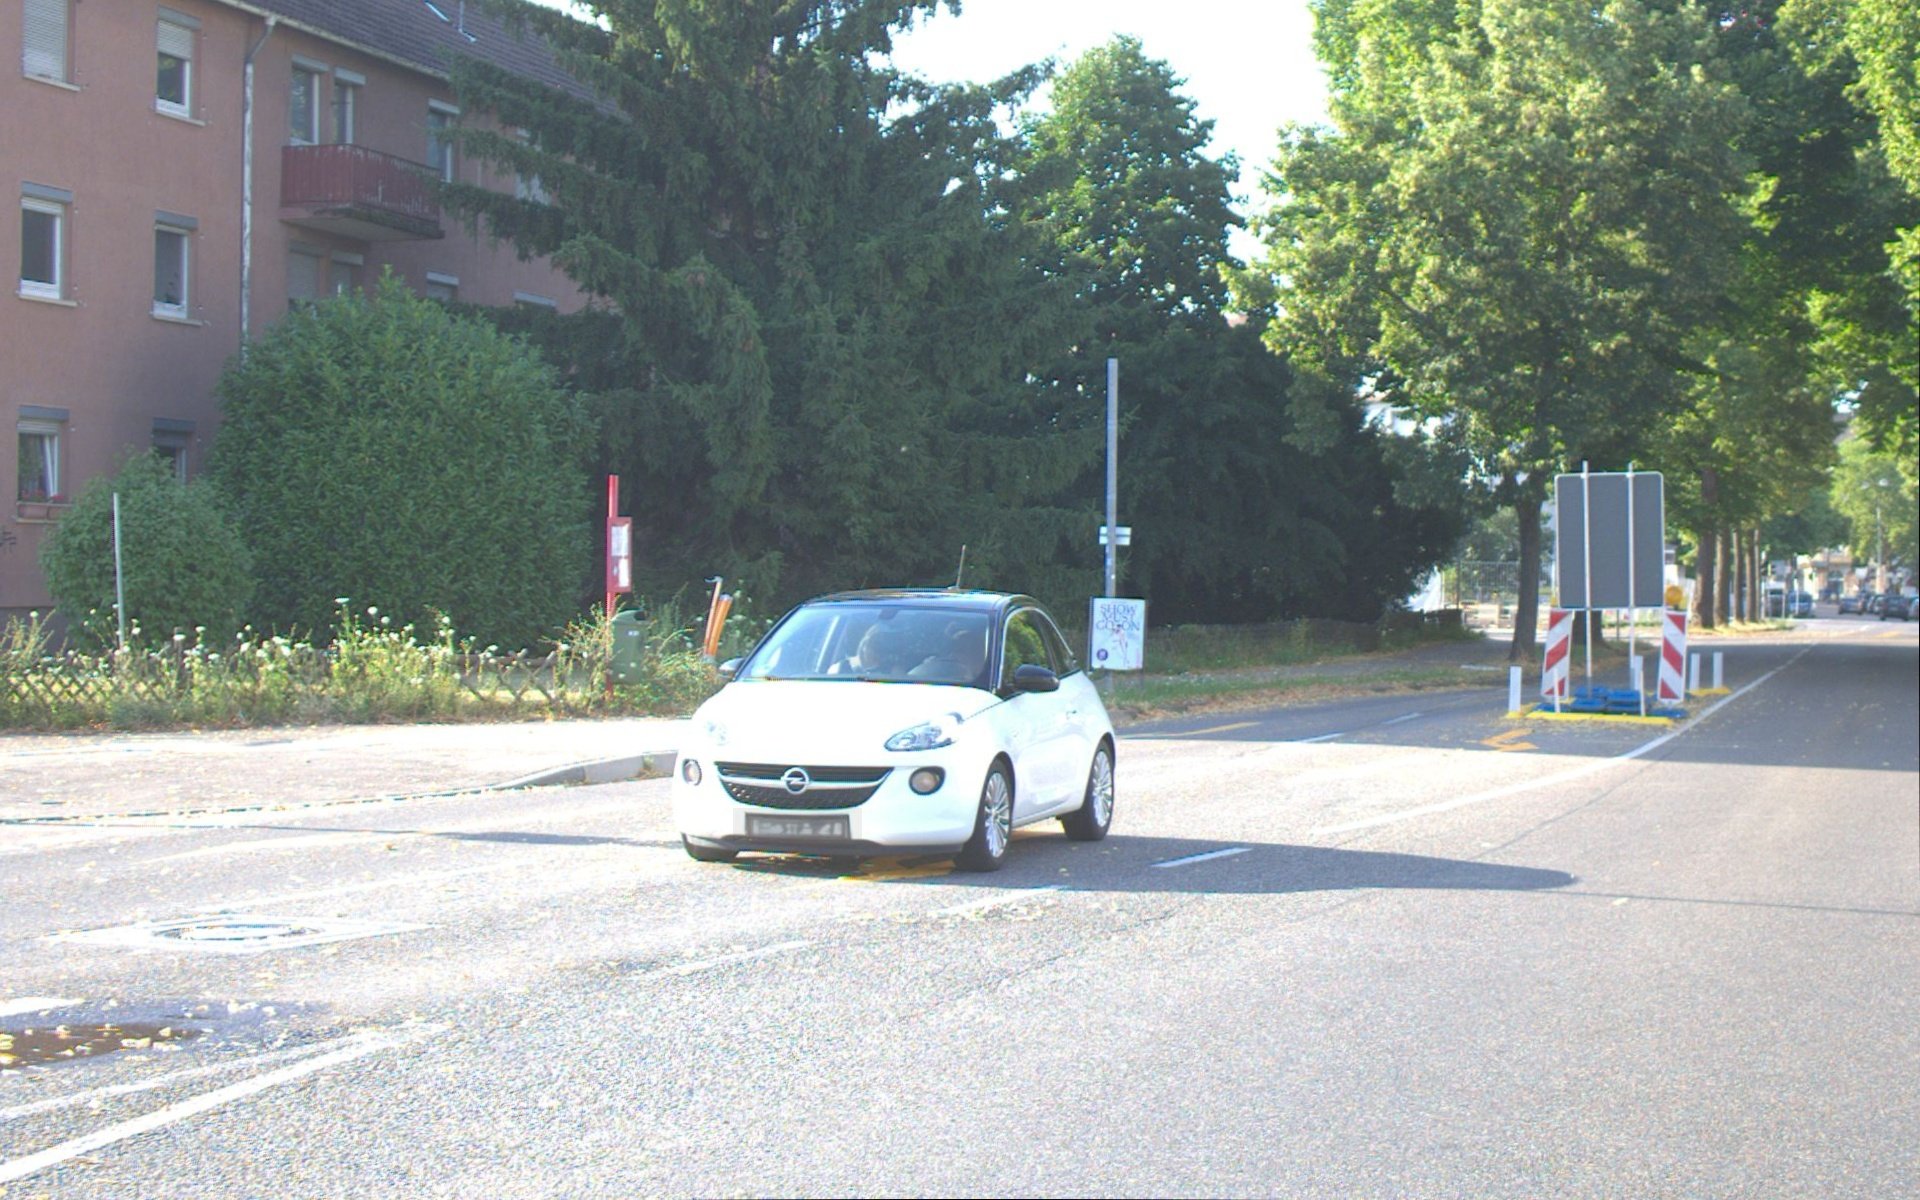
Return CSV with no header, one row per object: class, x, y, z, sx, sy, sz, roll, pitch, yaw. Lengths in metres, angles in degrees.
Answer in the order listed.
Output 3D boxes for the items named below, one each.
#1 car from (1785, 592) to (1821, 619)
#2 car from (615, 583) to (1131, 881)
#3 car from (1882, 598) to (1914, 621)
car,55.286,0.375,225.508,1.994,1.682,3.998,0,-1,10
car,-0.368,0.642,18.887,1.760,1.416,3.622,2,1,17
car,60.620,0.620,222.294,1.715,1.481,3.998,0,-1,11
